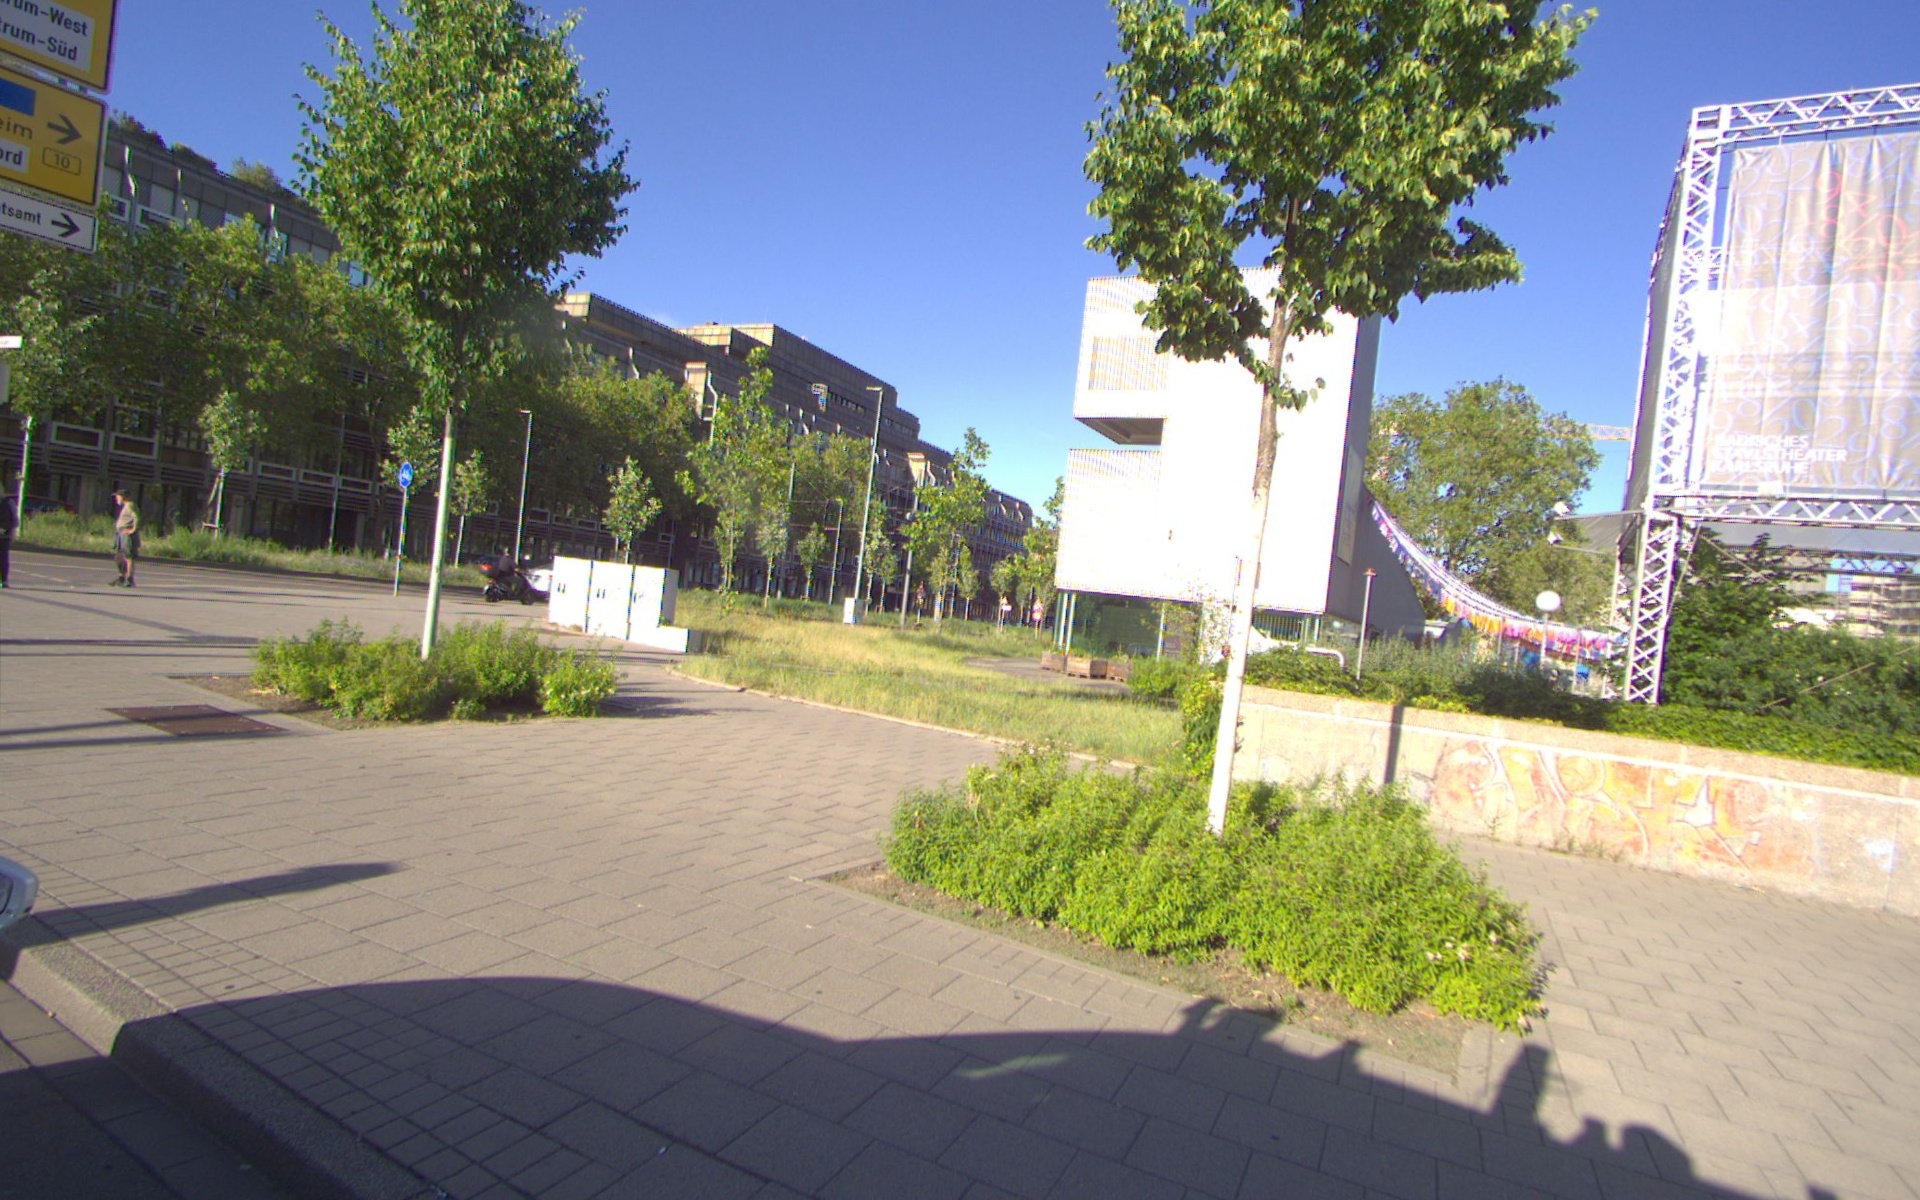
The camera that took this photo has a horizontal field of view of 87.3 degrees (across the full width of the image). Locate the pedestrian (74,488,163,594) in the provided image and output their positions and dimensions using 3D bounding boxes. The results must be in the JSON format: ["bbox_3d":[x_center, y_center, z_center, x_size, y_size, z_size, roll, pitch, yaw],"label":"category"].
[{"bbox_3d":[-14.945,-1.040,17.871,0.755,1.728,0.873,7,1,30],"label":"pedestrian"}]

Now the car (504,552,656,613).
[{"bbox_3d":[-13.334,-0.556,35.714,1.963,1.583,5.098,7,-1,23],"label":"car"}]

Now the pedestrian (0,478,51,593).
[{"bbox_3d":[-14.304,-0.990,15.005,0.859,1.634,0.767,7,1,30],"label":"pedestrian"}]

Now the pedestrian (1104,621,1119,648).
[{"bbox_3d":[9.204,2.092,61.218,0.520,1.571,0.638,7,-1,31],"label":"pedestrian"}]

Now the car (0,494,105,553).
[{"bbox_3d":[-33.257,-2.788,35.479,1.792,1.704,4.302,7,-1,21],"label":"car"}]

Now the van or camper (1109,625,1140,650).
[{"bbox_3d":[15.867,3.646,96.916,1.969,2.038,4.844,7,-1,19],"label":"van or camper"}]

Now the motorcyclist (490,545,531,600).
[{"bbox_3d":[-13.099,-0.791,29.342,0.588,1.497,0.751,7,0,24],"label":"motorcyclist"}]

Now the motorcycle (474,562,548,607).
[{"bbox_3d":[-13.112,-0.435,29.418,0.637,1.114,1.960,7,0,24],"label":"motorcycle"}]
